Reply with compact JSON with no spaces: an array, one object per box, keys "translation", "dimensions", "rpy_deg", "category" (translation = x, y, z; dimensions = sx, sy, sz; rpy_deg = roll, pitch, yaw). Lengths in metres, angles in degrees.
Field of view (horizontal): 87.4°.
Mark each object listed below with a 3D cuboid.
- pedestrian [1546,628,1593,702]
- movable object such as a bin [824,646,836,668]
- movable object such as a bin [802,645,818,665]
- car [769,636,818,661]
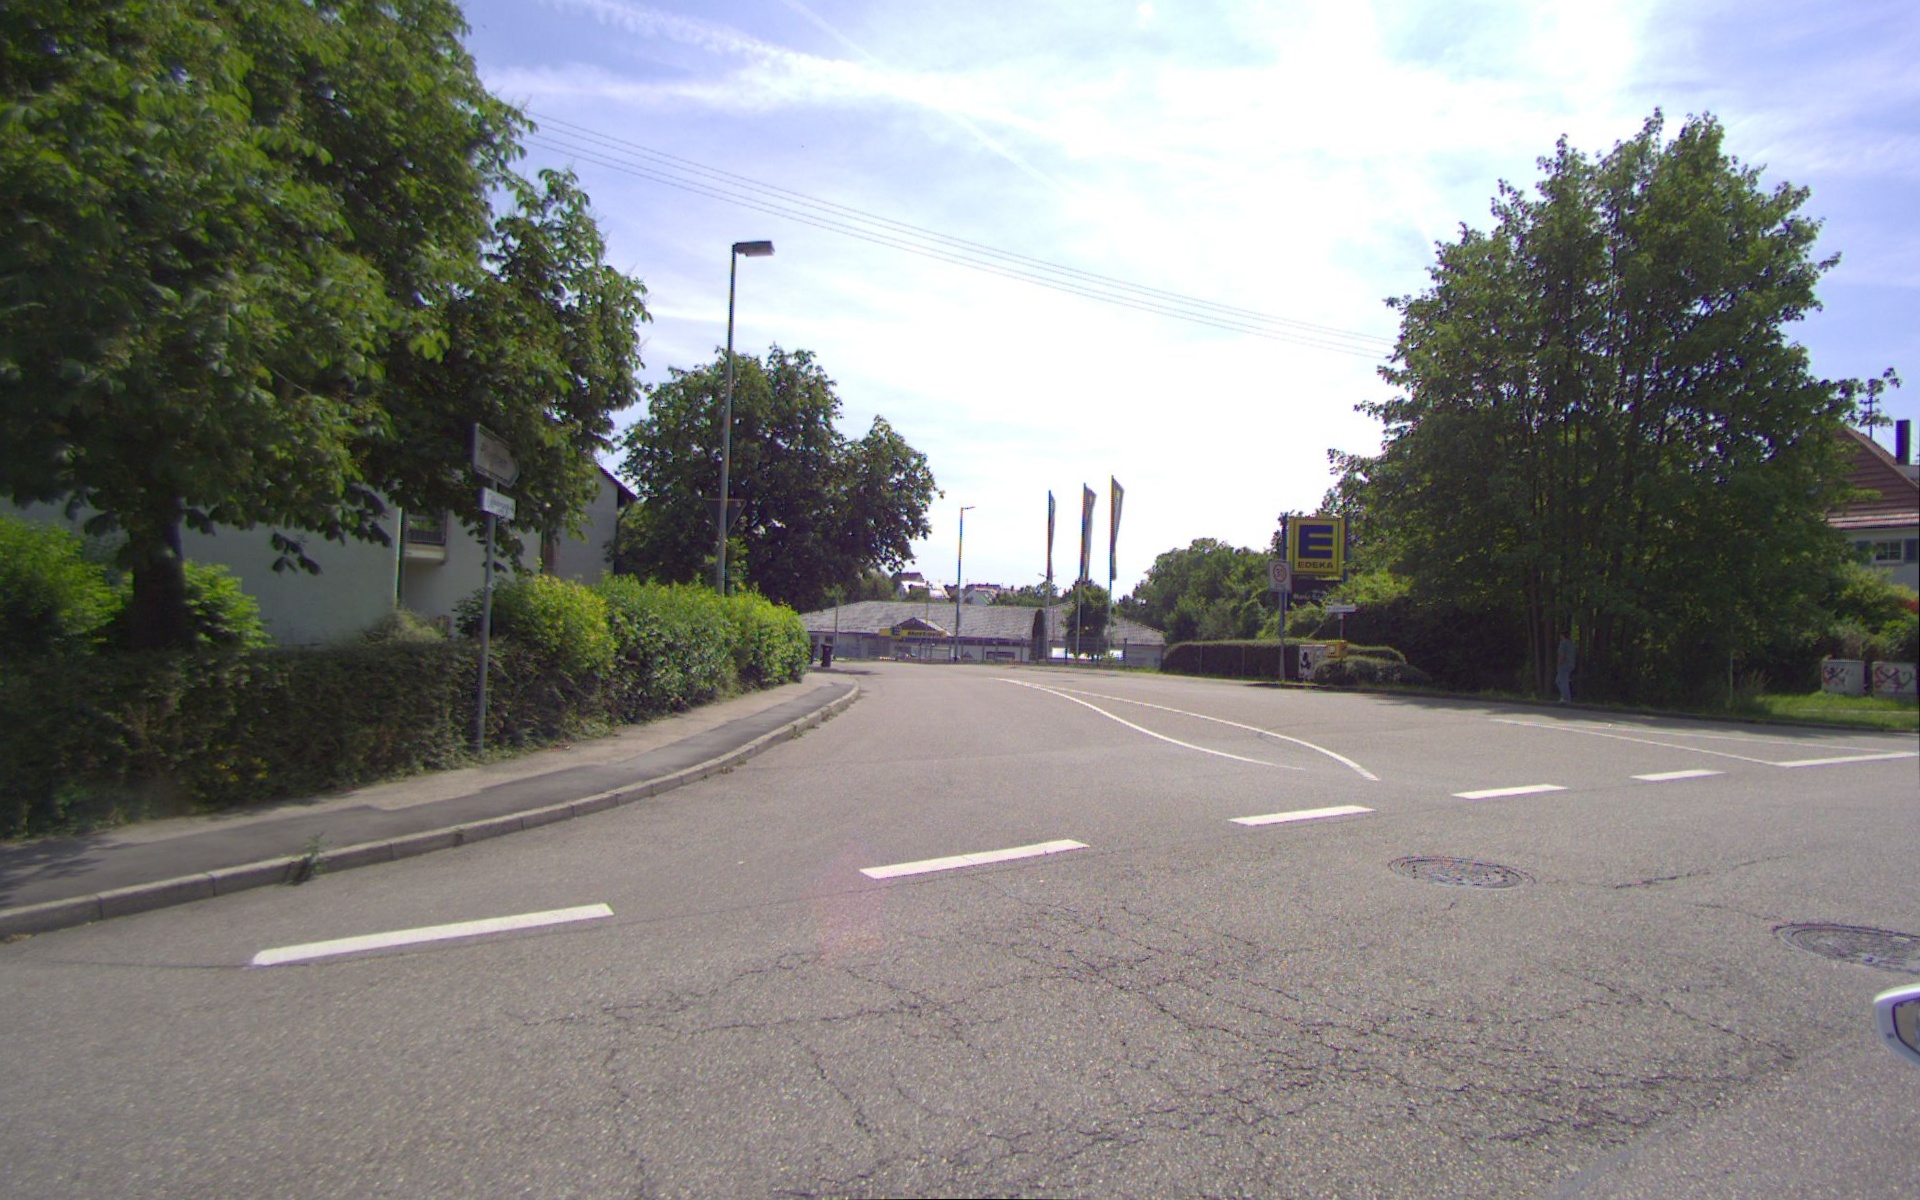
[{"translation":[15.204,1.628,25.081],"dimensions":[0.678,1.800,0.736],"rpy_deg":[2,-4,-12],"category":"pedestrian"},{"translation":[-5.471,2.400,42.157],"dimensions":[0.391,0.886,0.390],"rpy_deg":[2,-2,-23],"category":"movable object such as a bin"},{"translation":[-6.783,2.484,45.395],"dimensions":[0.510,0.886,0.516],"rpy_deg":[1,-2,22],"category":"movable object such as a bin"},{"translation":[-9.467,2.767,56.902],"dimensions":[1.733,1.352,3.844],"rpy_deg":[1,-4,-26],"category":"car"}]
